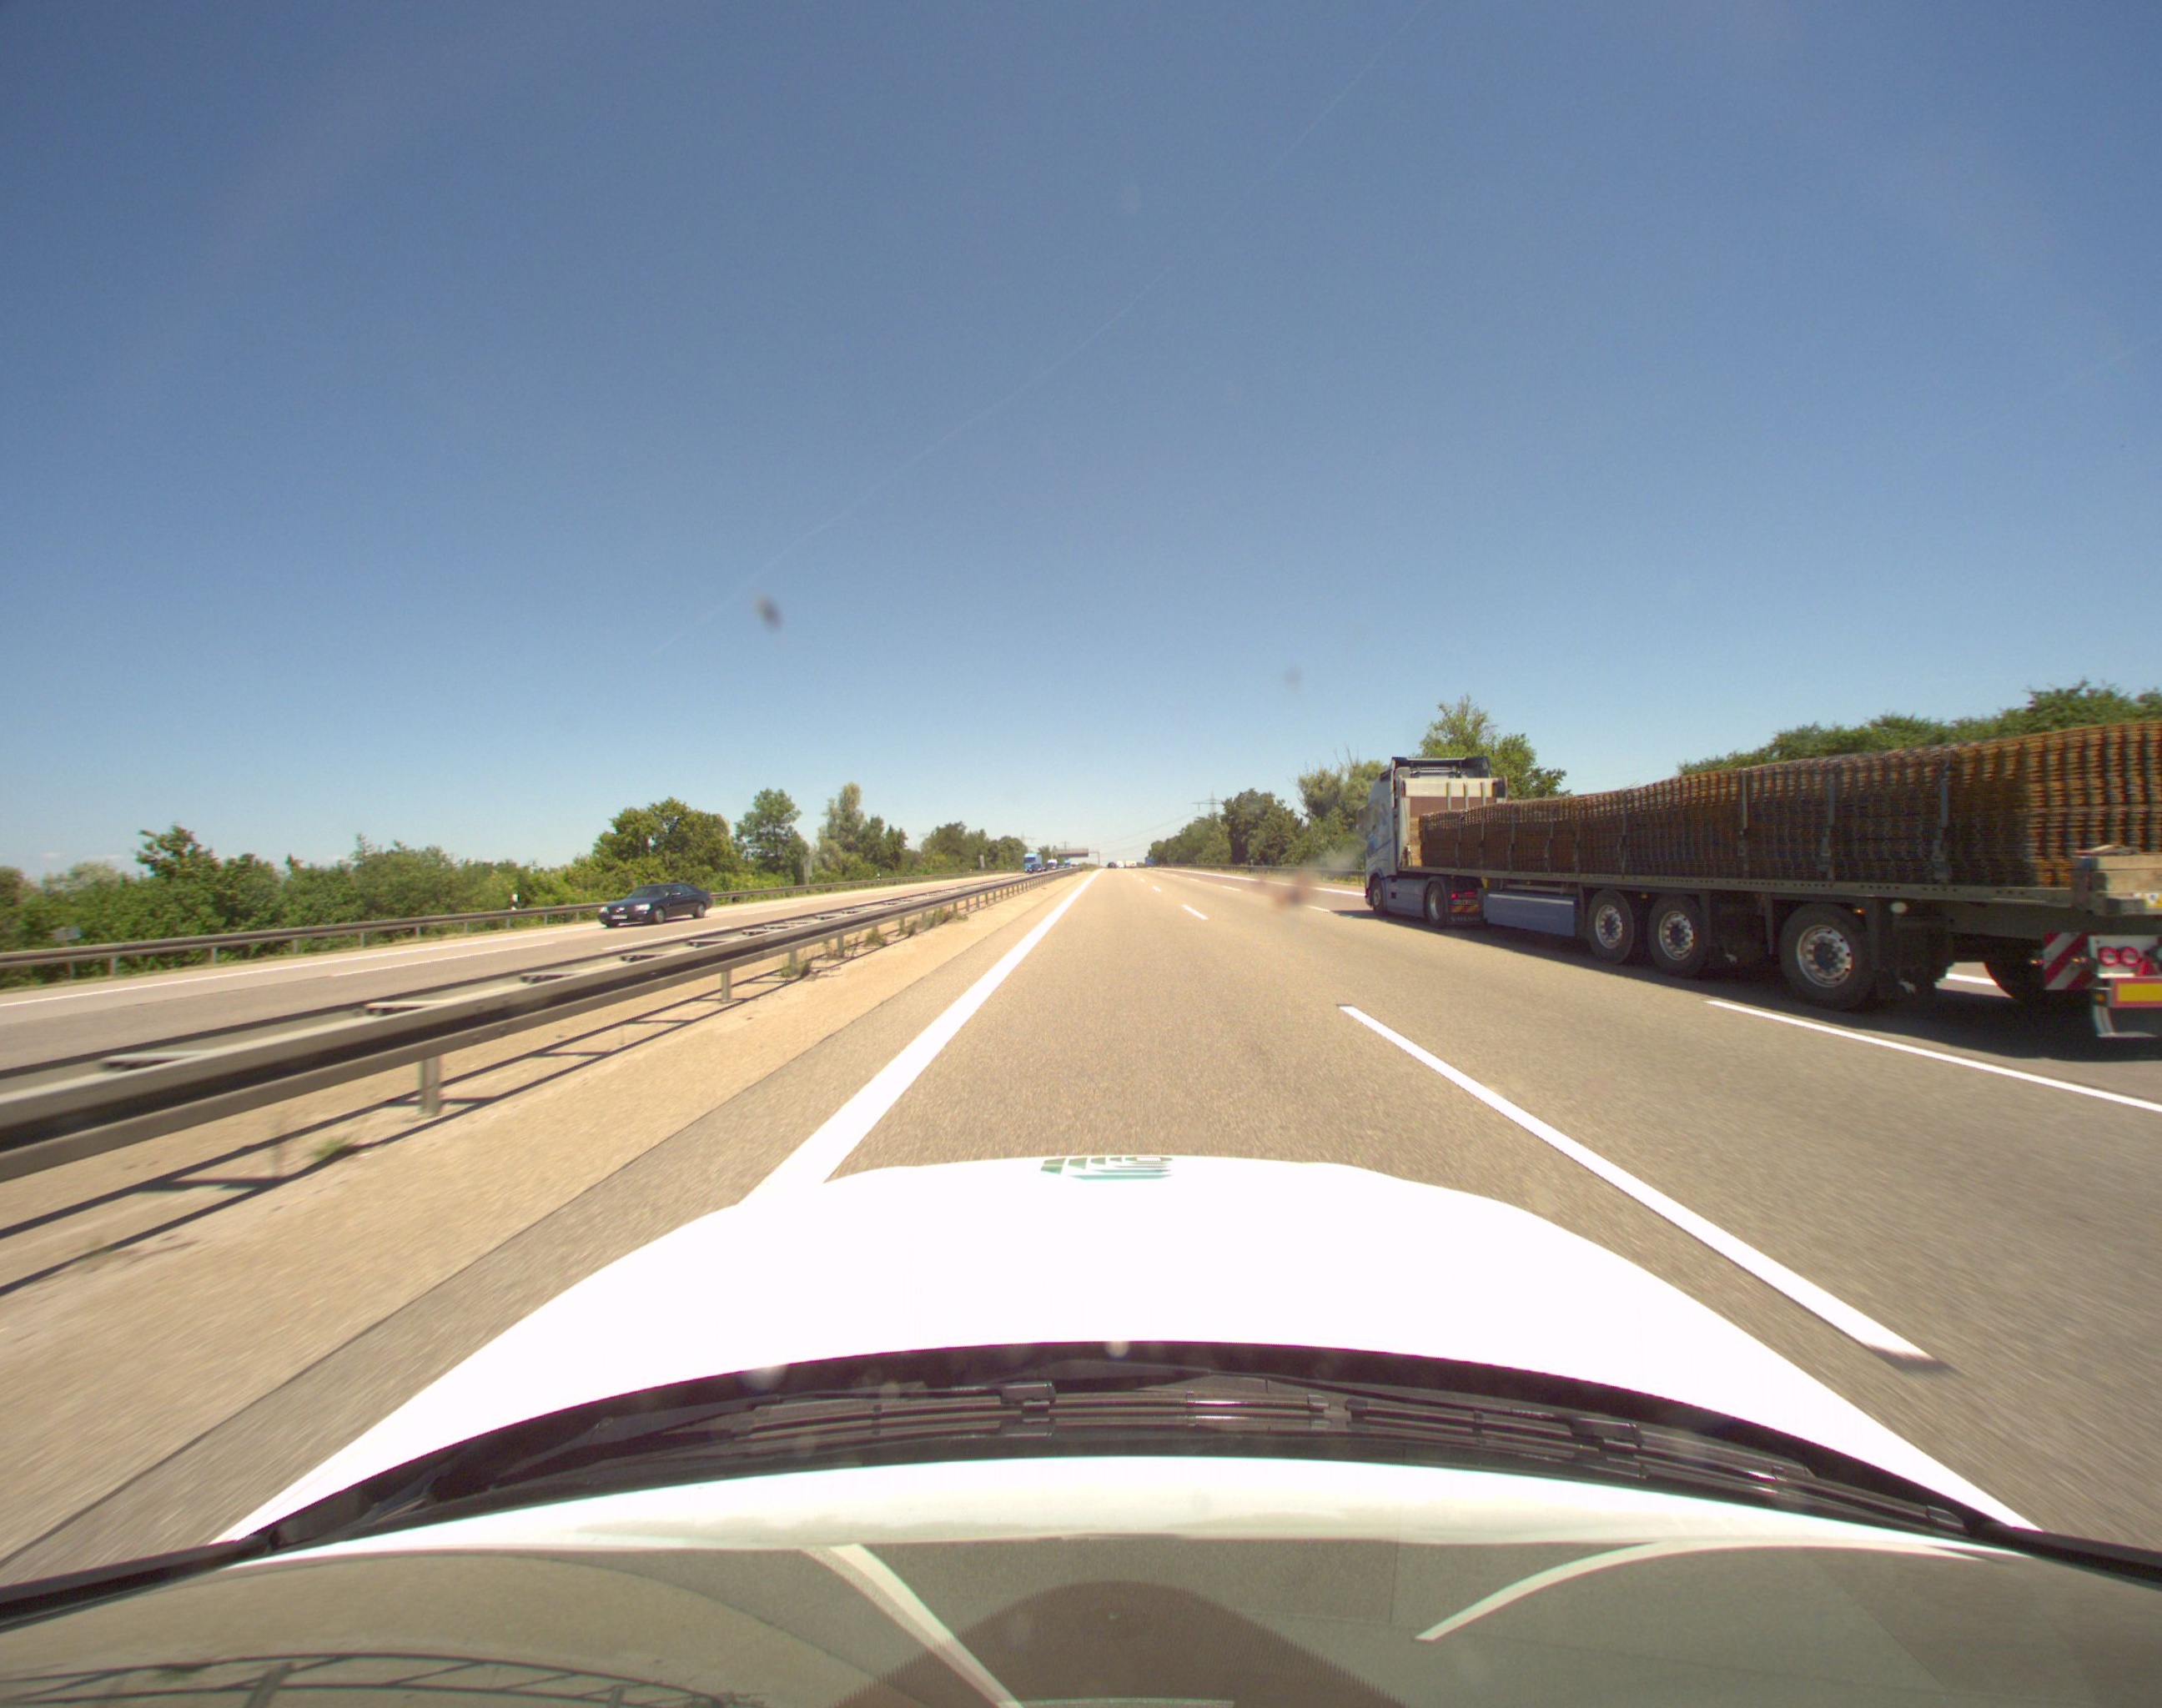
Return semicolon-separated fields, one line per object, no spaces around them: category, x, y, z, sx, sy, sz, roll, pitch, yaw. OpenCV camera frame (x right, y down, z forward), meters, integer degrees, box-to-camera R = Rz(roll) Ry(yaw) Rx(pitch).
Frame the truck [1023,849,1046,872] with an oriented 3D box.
truck;-10.236;1.546;181.070;3.214;4.720;16.863;-4;-1;1

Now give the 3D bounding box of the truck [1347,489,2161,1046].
truck;8.608;-0.504;14.082;2.958;3.957;16.616;0;-1;1

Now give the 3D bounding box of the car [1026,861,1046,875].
car;-5.877;1.816;106.108;1.986;1.604;4.601;-6;-1;2

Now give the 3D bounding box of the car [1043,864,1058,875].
car;-4.753;2.423;127.522;1.986;1.690;4.410;-2;-1;2

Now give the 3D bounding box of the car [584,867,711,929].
car;-15.592;1.530;29.615;1.987;1.872;4.581;-5;-1;0

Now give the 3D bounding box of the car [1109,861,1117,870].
car;7.025;2.597;180.618;1.784;2.014;3.889;0;-1;2

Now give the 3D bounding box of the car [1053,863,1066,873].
car;-4.116;2.715;156.799;1.986;1.690;4.410;-3;-1;2
